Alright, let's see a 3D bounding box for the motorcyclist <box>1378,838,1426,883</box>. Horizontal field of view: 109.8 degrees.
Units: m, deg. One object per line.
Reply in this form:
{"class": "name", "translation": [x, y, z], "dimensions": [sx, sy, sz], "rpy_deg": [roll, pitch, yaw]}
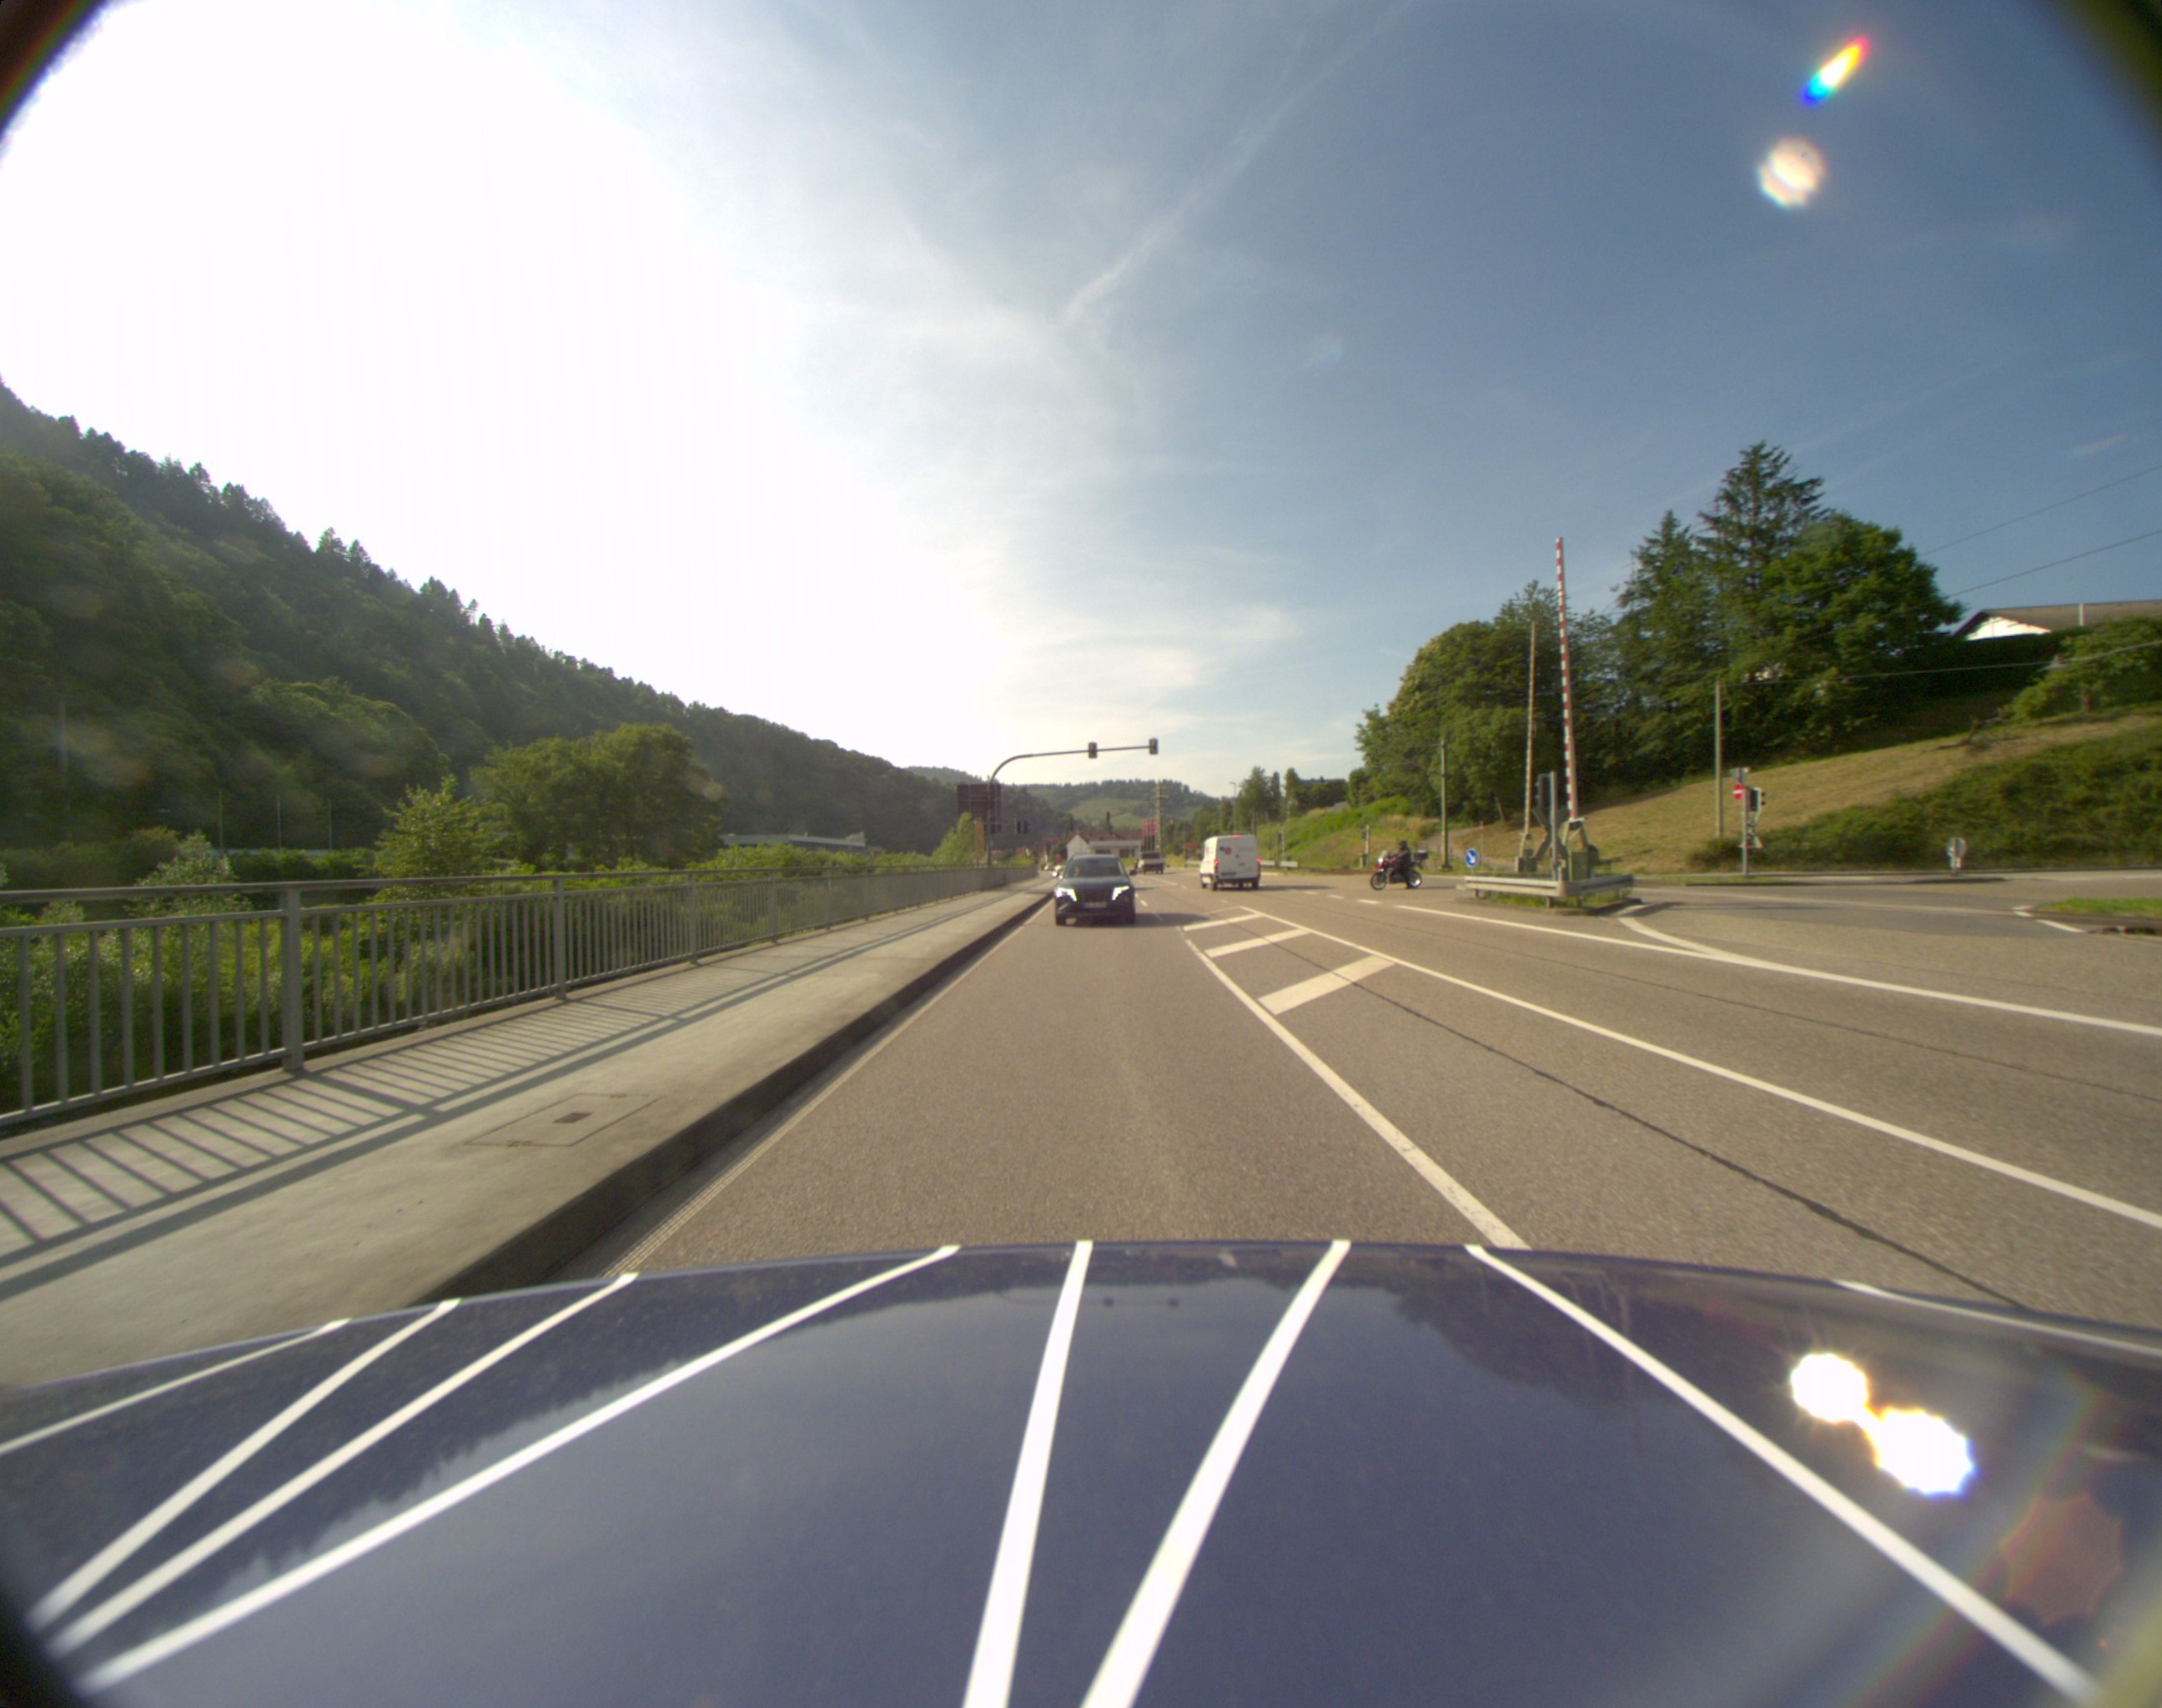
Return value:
{"class": "motorcyclist", "translation": [11.777, 0.231, 27.910], "dimensions": [1.186, 1.535, 0.990], "rpy_deg": [-4, 1, -13]}

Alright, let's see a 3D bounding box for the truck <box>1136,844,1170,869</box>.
{"class": "truck", "translation": [7.027, 0.202, 74.788], "dimensions": [2.453, 2.252, 6.279], "rpy_deg": [-3, 0, -2]}

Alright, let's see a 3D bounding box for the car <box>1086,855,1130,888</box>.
{"class": "car", "translation": [1.299, 0.843, 38.215], "dimensions": [1.919, 1.455, 3.999], "rpy_deg": [-2, 0, -2]}

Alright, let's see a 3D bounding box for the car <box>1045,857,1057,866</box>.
{"class": "car", "translation": [-6.692, 1.641, 170.188], "dimensions": [2.000, 2.002, 3.996], "rpy_deg": [-3, 0, -12]}

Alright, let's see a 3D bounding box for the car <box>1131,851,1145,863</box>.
{"class": "car", "translation": [8.041, 0.413, 107.428], "dimensions": [1.691, 1.477, 4.000], "rpy_deg": [-3, 0, 0]}

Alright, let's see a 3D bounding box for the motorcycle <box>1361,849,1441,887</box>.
{"class": "motorcycle", "translation": [11.747, 0.500, 27.907], "dimensions": [2.594, 1.261, 1.004], "rpy_deg": [-3, 1, -14]}

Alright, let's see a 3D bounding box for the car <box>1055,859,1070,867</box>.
{"class": "car", "translation": [-3.818, 1.840, 157.952], "dimensions": [2.001, 1.433, 3.994], "rpy_deg": [-4, 0, -17]}

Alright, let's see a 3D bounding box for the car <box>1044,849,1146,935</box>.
{"class": "car", "translation": [0.367, 0.760, 18.235], "dimensions": [1.998, 1.661, 5.510], "rpy_deg": [-2, 0, 2]}

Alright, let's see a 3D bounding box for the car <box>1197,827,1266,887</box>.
{"class": "car", "translation": [6.623, 0.133, 34.058], "dimensions": [2.125, 2.422, 5.228], "rpy_deg": [-2, 0, 1]}
